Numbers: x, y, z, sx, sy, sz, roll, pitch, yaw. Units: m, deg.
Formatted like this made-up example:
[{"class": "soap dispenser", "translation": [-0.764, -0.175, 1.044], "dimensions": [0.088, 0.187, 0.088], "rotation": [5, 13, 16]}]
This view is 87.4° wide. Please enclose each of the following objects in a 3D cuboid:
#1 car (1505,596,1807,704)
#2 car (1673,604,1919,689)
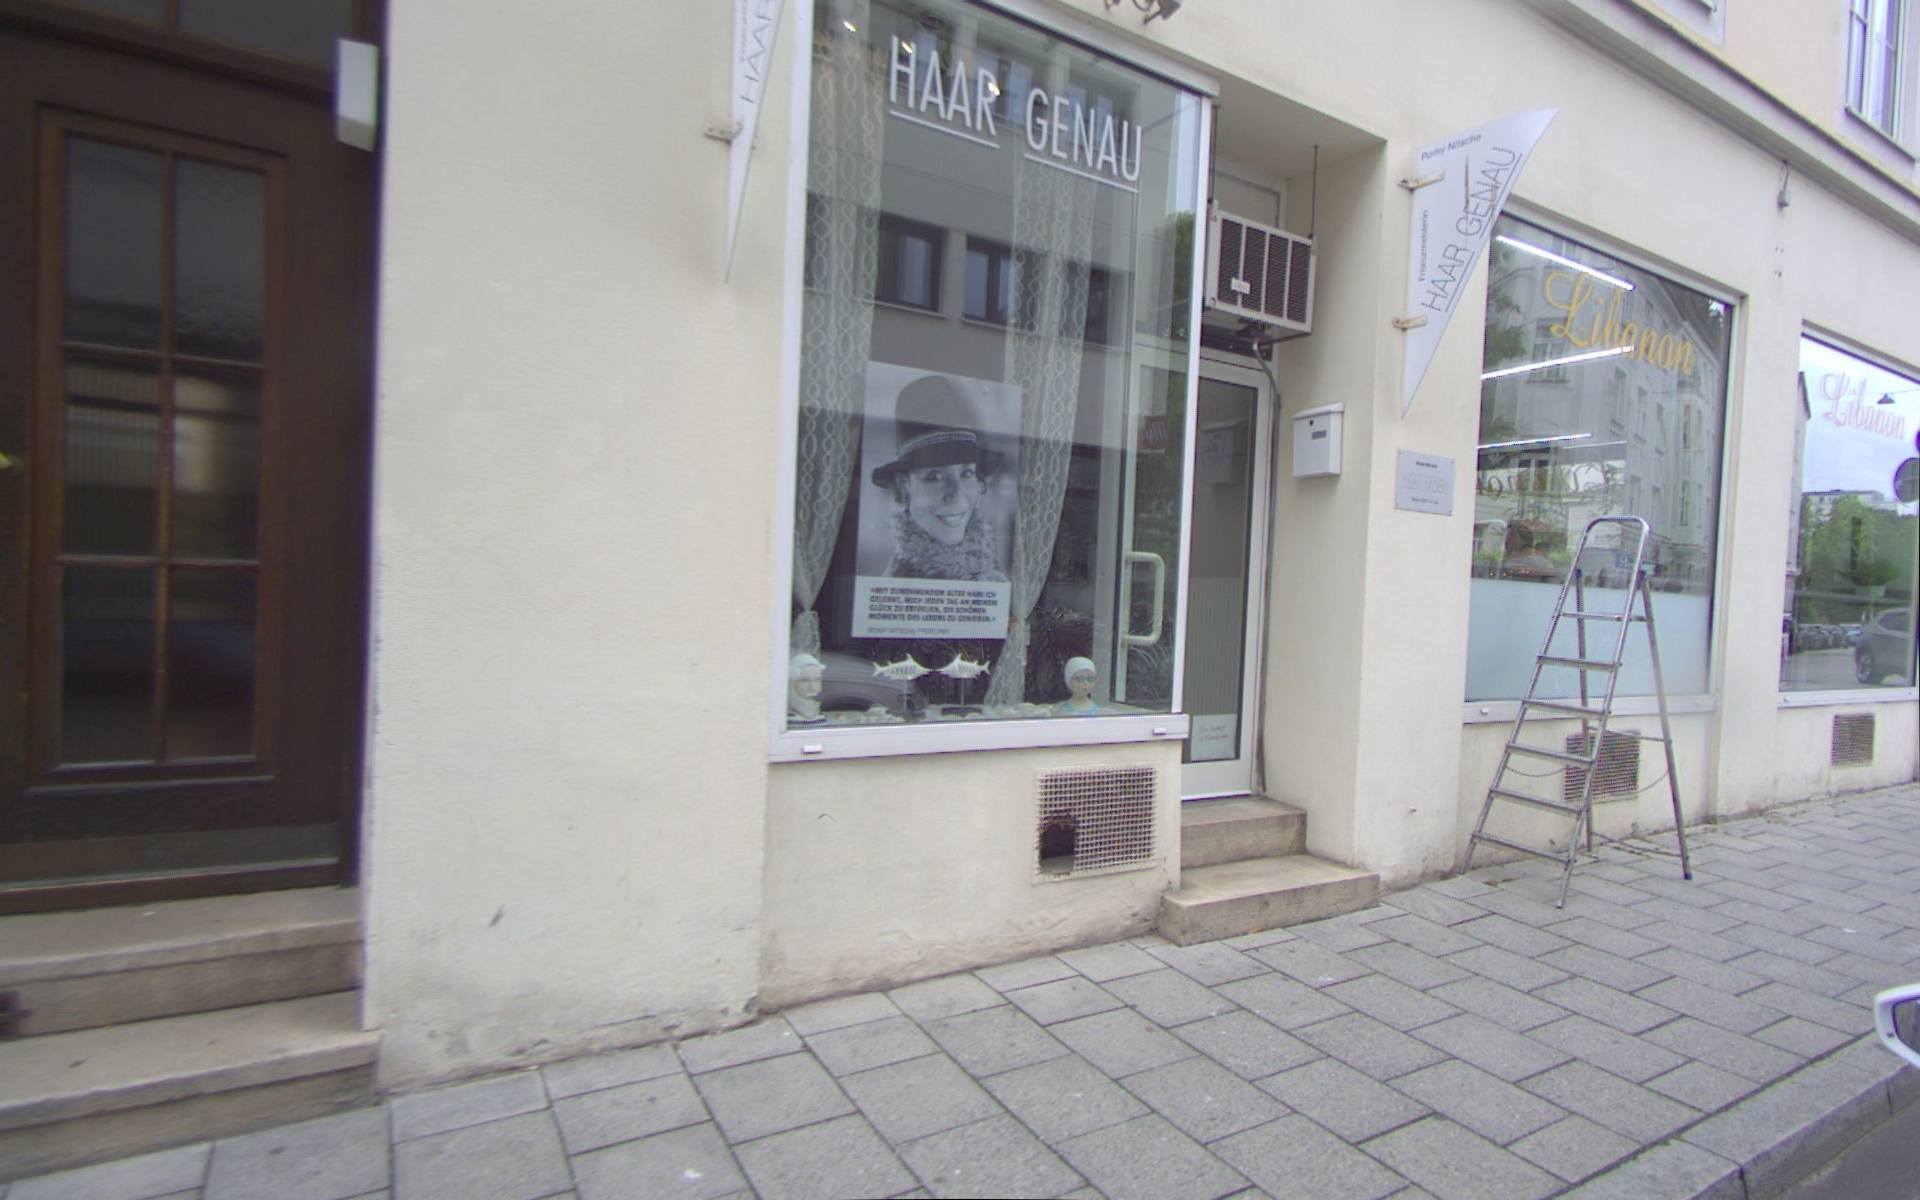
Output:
[{"class": "car", "translation": [12.936, 0.821, 18.993], "dimensions": [1.879, 1.537, 4.315], "rotation": [-2, 4, -28]}, {"class": "car", "translation": [18.101, 0.945, 21.785], "dimensions": [1.663, 1.468, 3.975], "rotation": [2, 2, -25]}]
